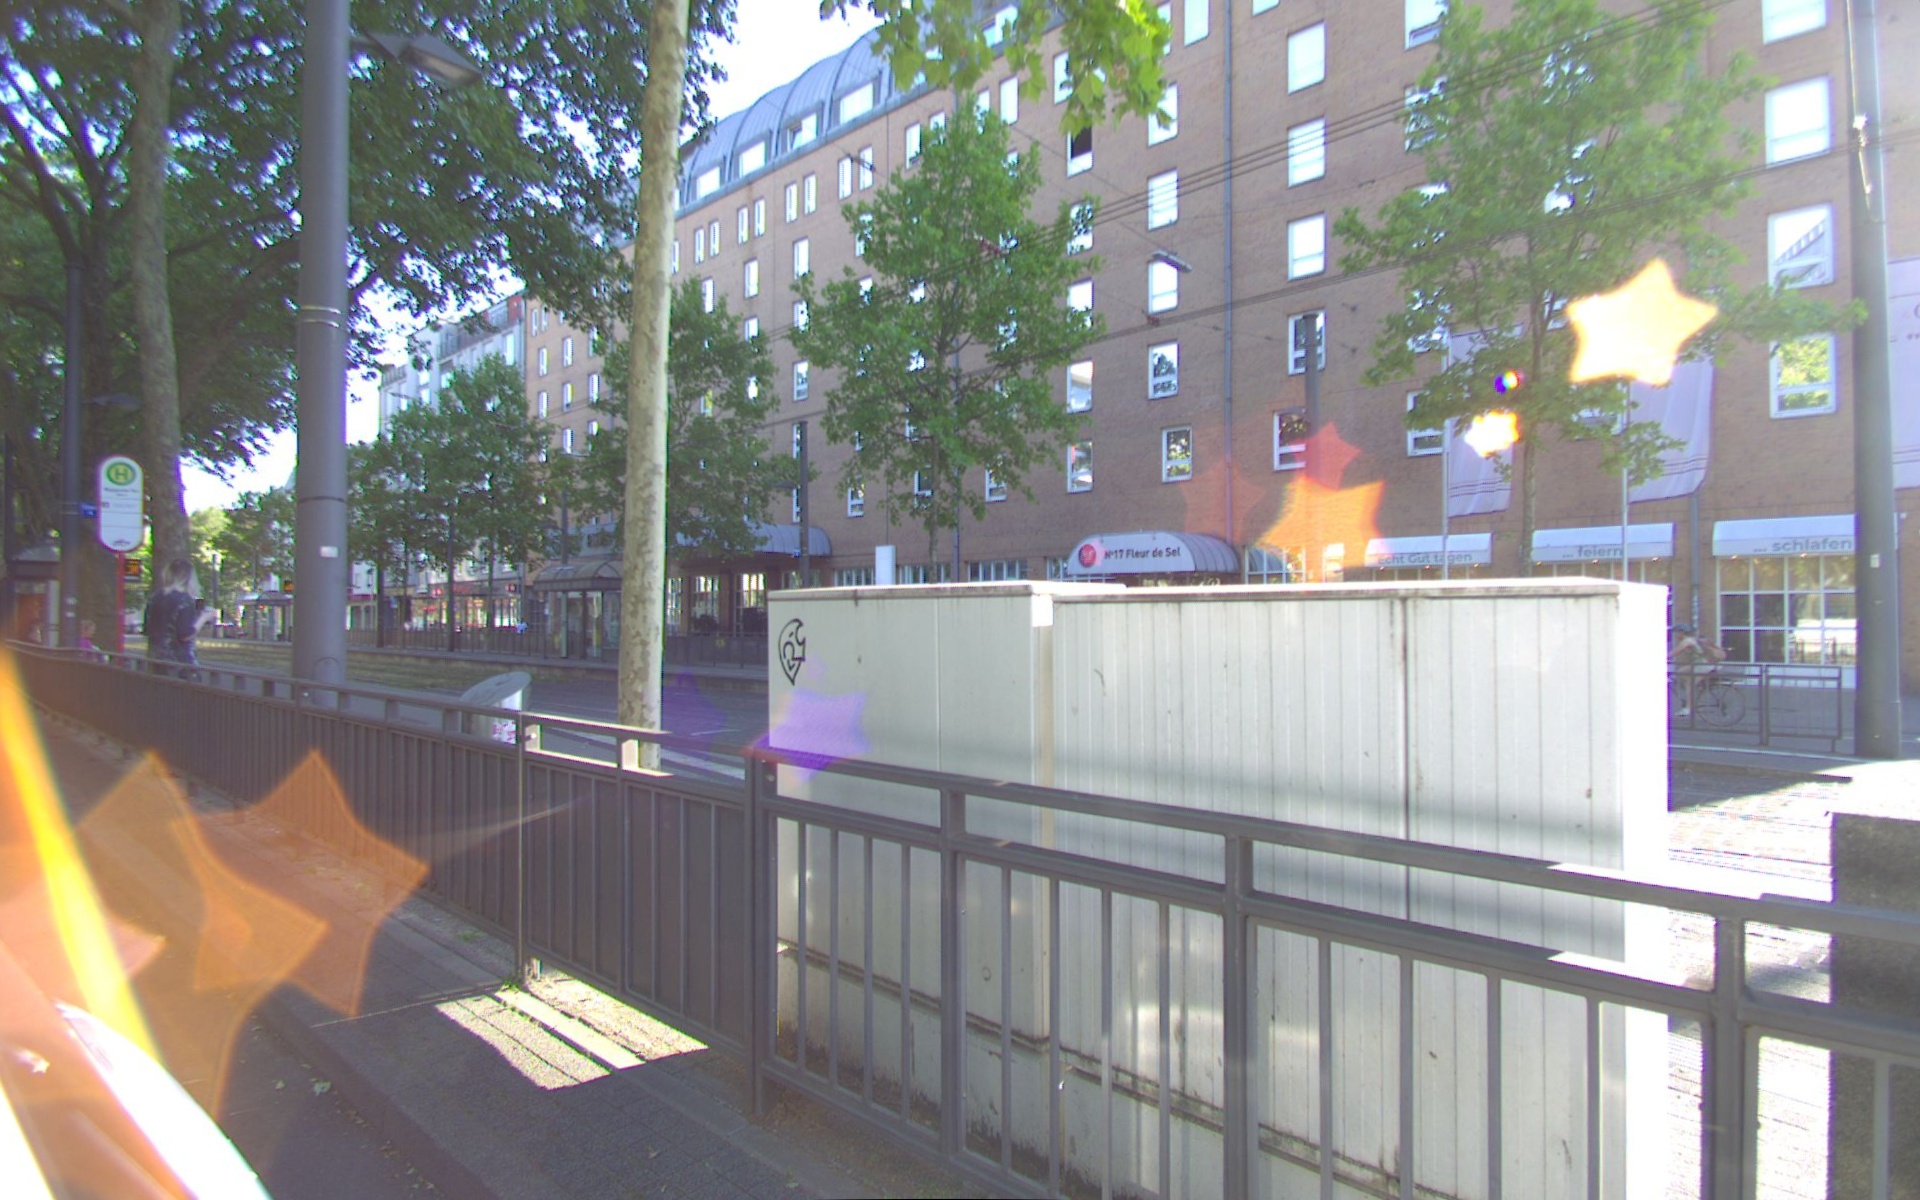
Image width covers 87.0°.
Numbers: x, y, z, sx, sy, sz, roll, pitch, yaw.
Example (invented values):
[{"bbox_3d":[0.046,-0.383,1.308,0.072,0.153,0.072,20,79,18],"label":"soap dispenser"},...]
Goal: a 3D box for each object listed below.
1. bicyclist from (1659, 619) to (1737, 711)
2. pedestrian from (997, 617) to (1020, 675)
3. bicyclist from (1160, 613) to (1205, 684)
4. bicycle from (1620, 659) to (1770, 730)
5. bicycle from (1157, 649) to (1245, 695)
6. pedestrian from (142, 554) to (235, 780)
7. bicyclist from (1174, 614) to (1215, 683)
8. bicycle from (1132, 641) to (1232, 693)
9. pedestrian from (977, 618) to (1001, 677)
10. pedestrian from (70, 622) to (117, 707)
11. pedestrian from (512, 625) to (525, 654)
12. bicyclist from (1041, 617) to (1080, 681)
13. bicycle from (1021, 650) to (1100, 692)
[{"bbox_3d":[12.407,1.070,17.039,1.031,1.485,0.647,-1,-1,36],"label":"bicyclist"},{"bbox_3d":[1.480,1.403,30.951,0.437,1.748,0.545,1,-2,-42],"label":"pedestrian"},{"bbox_3d":[5.072,1.111,23.090,0.756,1.572,0.676,-4,-4,33],"label":"bicyclist"},{"bbox_3d":[12.363,1.562,17.088,2.009,1.058,0.646,-1,-1,37],"label":"bicycle"},{"bbox_3d":[5.620,1.661,23.622,1.897,1.006,0.647,-1,-2,34],"label":"bicycle"},{"bbox_3d":[-6.602,0.548,8.665,0.524,1.848,0.536,-1,0,43],"label":"pedestrian"},{"bbox_3d":[5.494,1.133,23.717,0.756,1.586,0.655,-1,-2,34],"label":"bicyclist"},{"bbox_3d":[5.044,1.536,23.092,2.105,1.151,0.679,-4,-4,34],"label":"bicycle"},{"bbox_3d":[0.878,1.414,30.455,0.472,1.748,0.545,1,-2,-42],"label":"pedestrian"},{"bbox_3d":[-14.035,1.027,16.410,0.534,1.327,0.525,-1,0,-37],"label":"pedestrian"},{"bbox_3d":[-26.359,2.365,60.369,0.574,1.748,0.497,-2,-2,43],"label":"pedestrian"},{"bbox_3d":[2.557,1.236,25.701,0.756,1.581,0.655,-1,-2,34],"label":"bicyclist"},{"bbox_3d":[2.536,1.780,25.660,1.897,1.006,0.688,-1,-2,34],"label":"bicycle"}]
